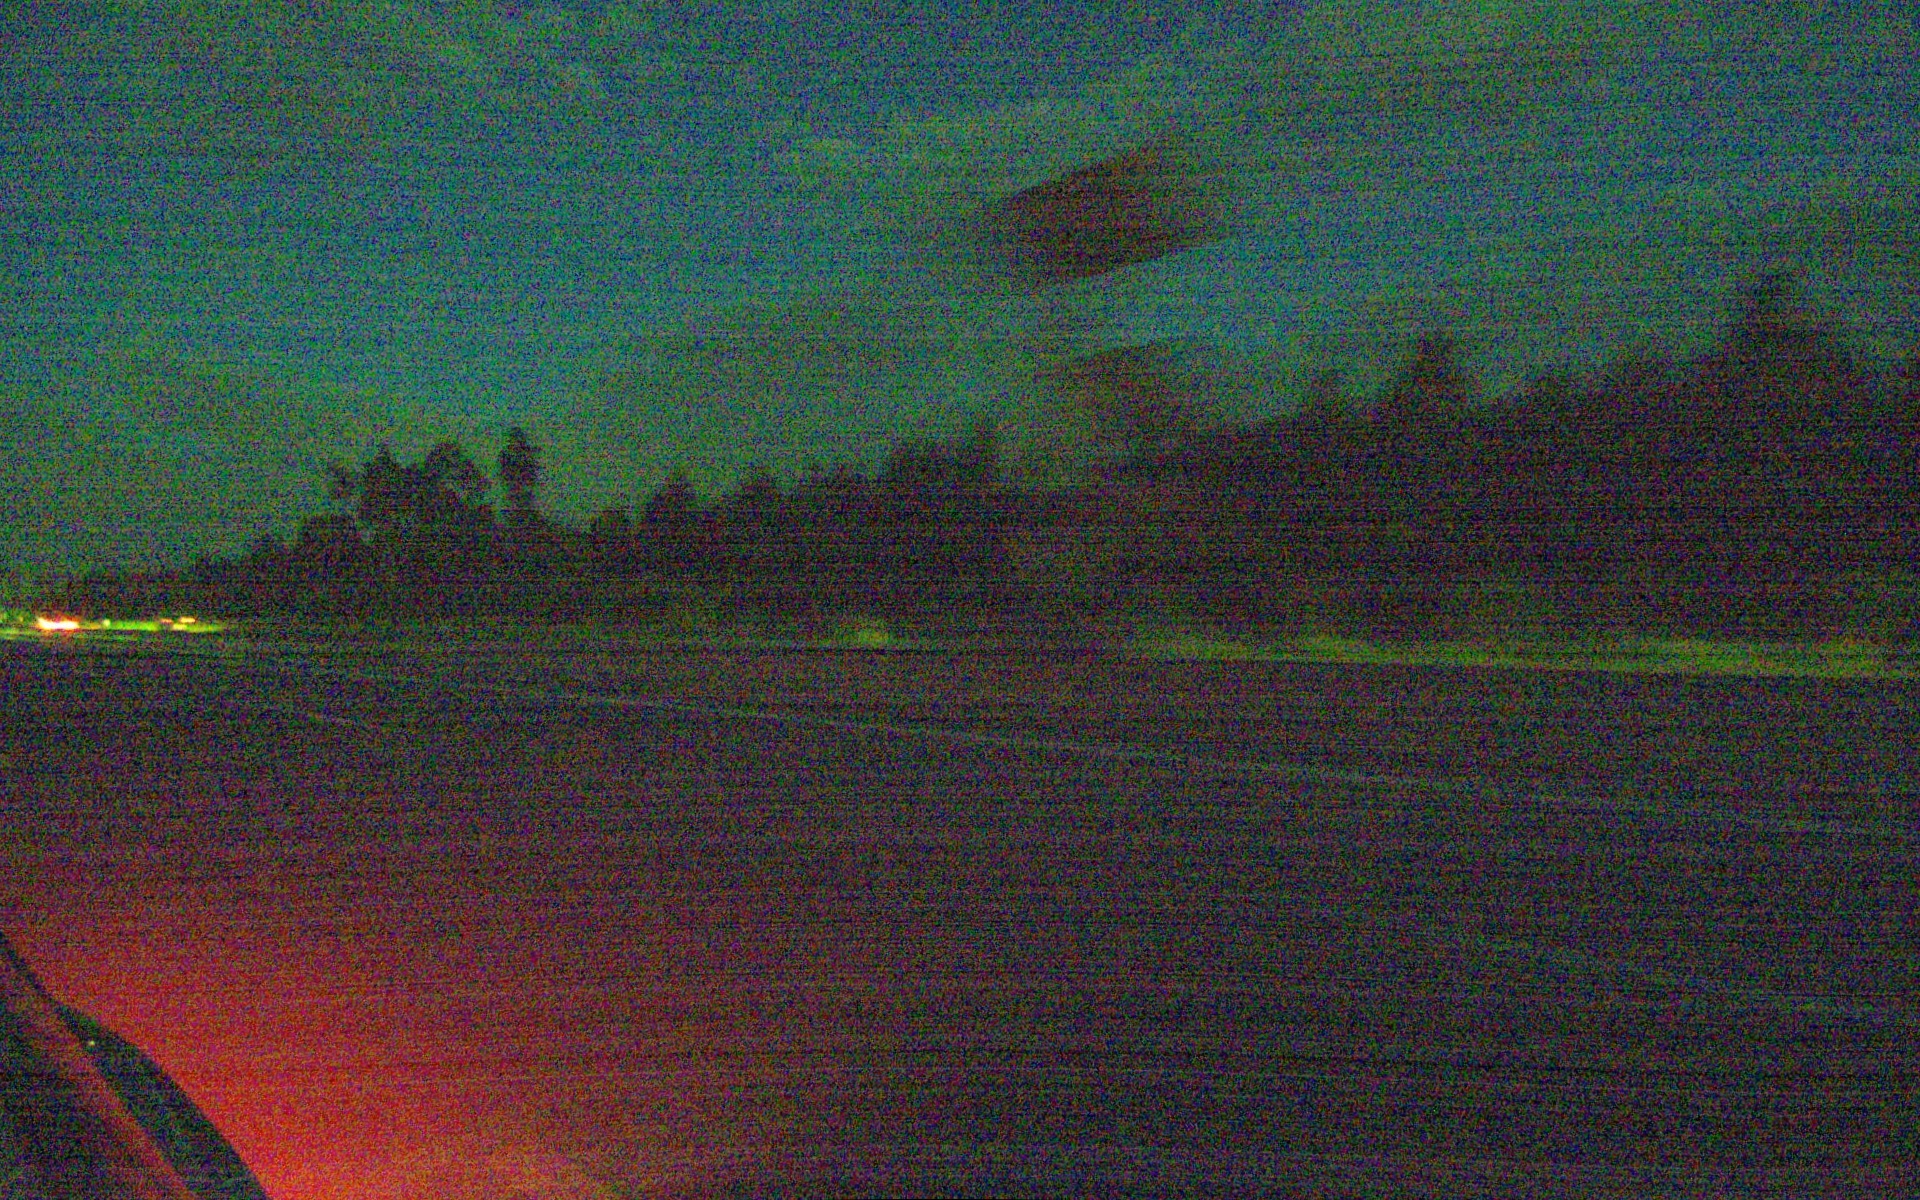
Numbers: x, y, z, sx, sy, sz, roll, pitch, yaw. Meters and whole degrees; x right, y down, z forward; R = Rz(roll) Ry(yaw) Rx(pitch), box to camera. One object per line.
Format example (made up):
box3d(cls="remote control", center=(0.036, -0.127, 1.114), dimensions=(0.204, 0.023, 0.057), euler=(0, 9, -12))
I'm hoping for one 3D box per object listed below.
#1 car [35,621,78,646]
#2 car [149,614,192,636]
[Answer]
box3d(cls="car", center=(-75.807, 2.783, 84.905), dimensions=(4.600, 2.029, 1.974), euler=(-1, 0, 39))
box3d(cls="car", center=(-68.580, 2.131, 87.902), dimensions=(5.086, 1.791, 1.973), euler=(-1, 0, 40))
